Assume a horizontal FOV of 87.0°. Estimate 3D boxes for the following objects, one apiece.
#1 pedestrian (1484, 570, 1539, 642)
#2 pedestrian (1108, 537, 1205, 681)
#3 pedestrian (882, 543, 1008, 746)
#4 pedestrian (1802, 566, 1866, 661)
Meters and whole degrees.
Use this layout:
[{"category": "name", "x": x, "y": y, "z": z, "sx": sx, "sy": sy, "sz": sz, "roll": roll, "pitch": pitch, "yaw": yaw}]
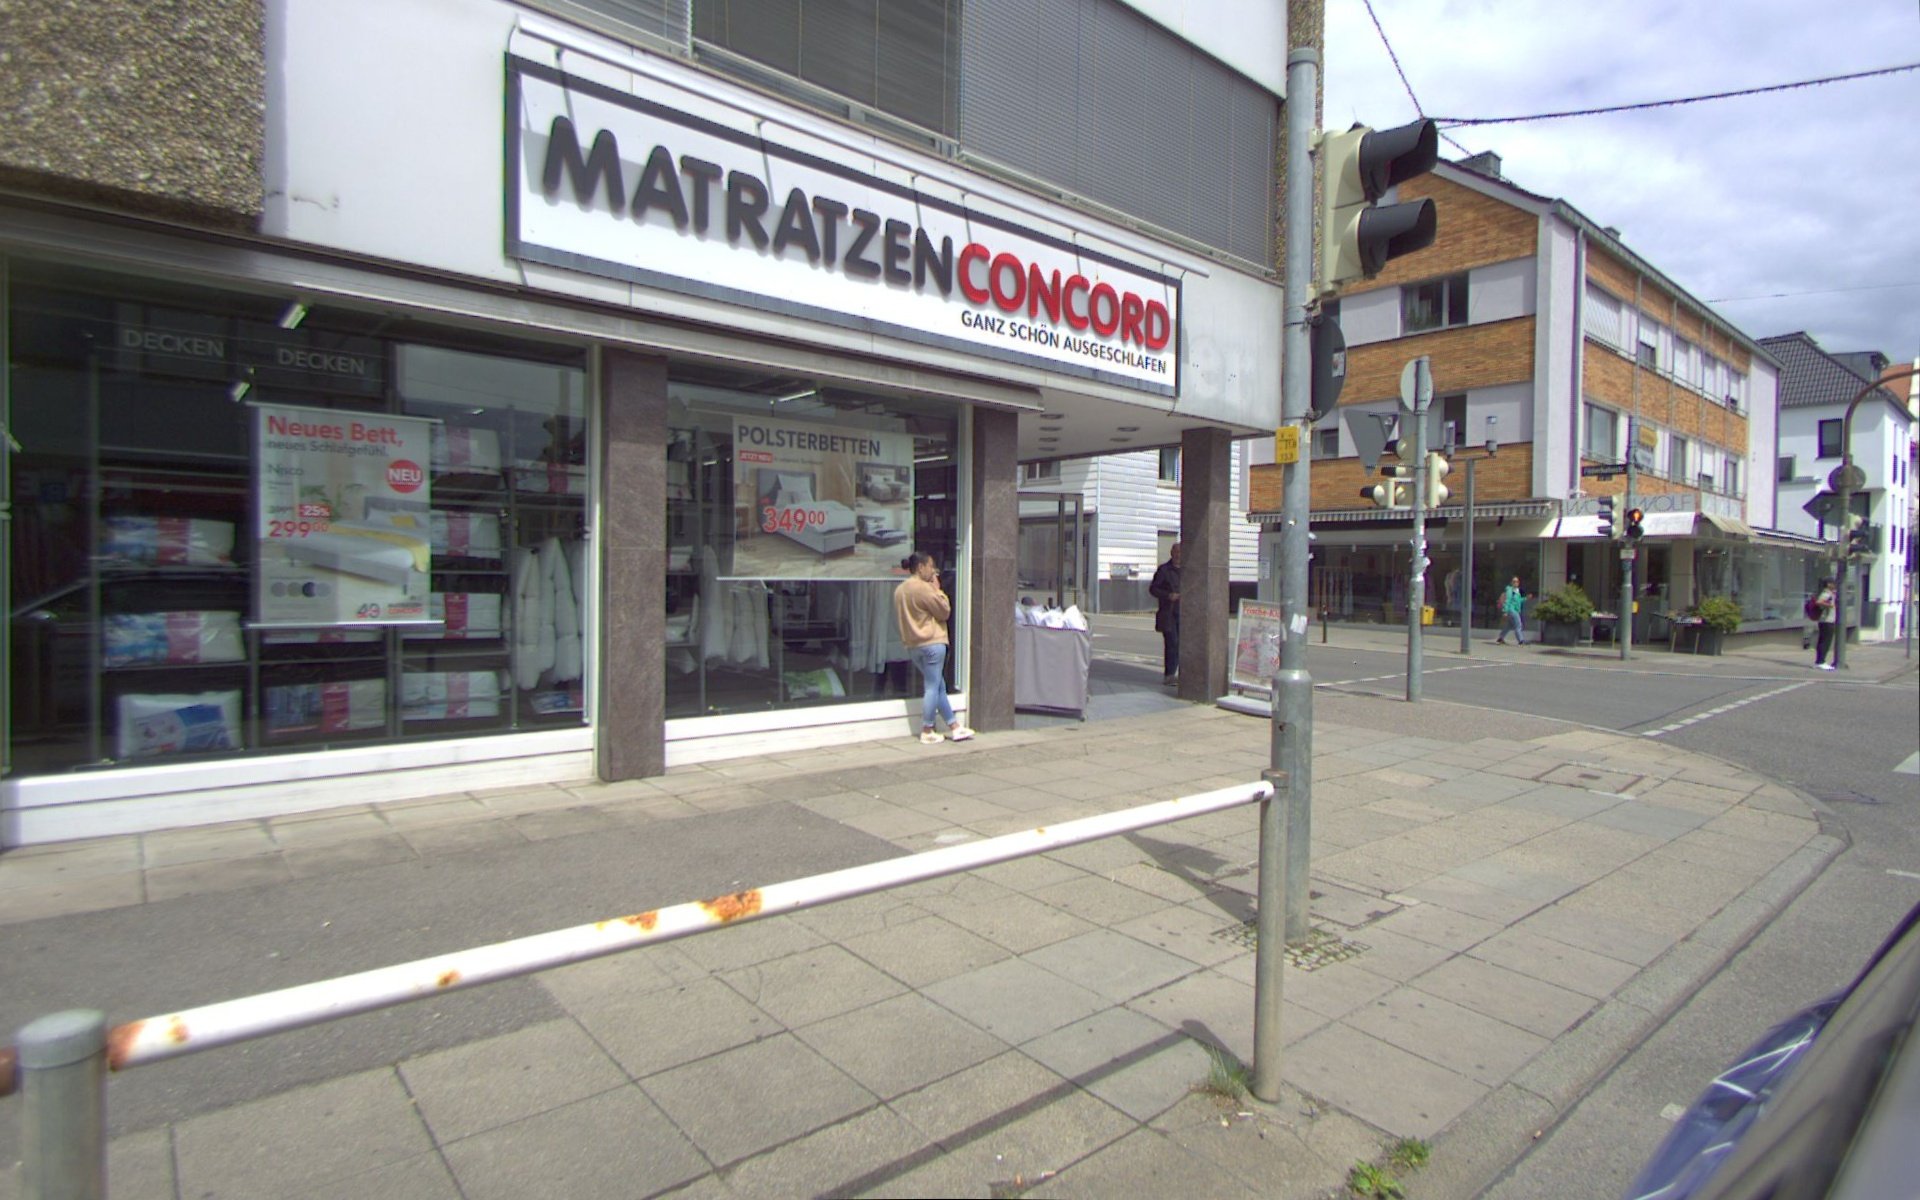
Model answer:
[{"category": "pedestrian", "x": 12.220, "y": 0.112, "z": 22.430, "sx": 0.766, "sy": 1.544, "sz": 0.818, "roll": 0, "pitch": 2, "yaw": -42}, {"category": "pedestrian", "x": 2.400, "y": 0.089, "z": 12.382, "sx": 0.783, "sy": 1.691, "sz": 0.807, "roll": 1, "pitch": 2, "yaw": -38}, {"category": "pedestrian", "x": -0.120, "y": 0.322, "z": 8.056, "sx": 0.707, "sy": 1.517, "sz": 0.681, "roll": 0, "pitch": 1, "yaw": -41}, {"category": "pedestrian", "x": 17.379, "y": 0.259, "z": 20.135, "sx": 0.862, "sy": 1.853, "sz": 0.583, "roll": 1, "pitch": 2, "yaw": -25}]
